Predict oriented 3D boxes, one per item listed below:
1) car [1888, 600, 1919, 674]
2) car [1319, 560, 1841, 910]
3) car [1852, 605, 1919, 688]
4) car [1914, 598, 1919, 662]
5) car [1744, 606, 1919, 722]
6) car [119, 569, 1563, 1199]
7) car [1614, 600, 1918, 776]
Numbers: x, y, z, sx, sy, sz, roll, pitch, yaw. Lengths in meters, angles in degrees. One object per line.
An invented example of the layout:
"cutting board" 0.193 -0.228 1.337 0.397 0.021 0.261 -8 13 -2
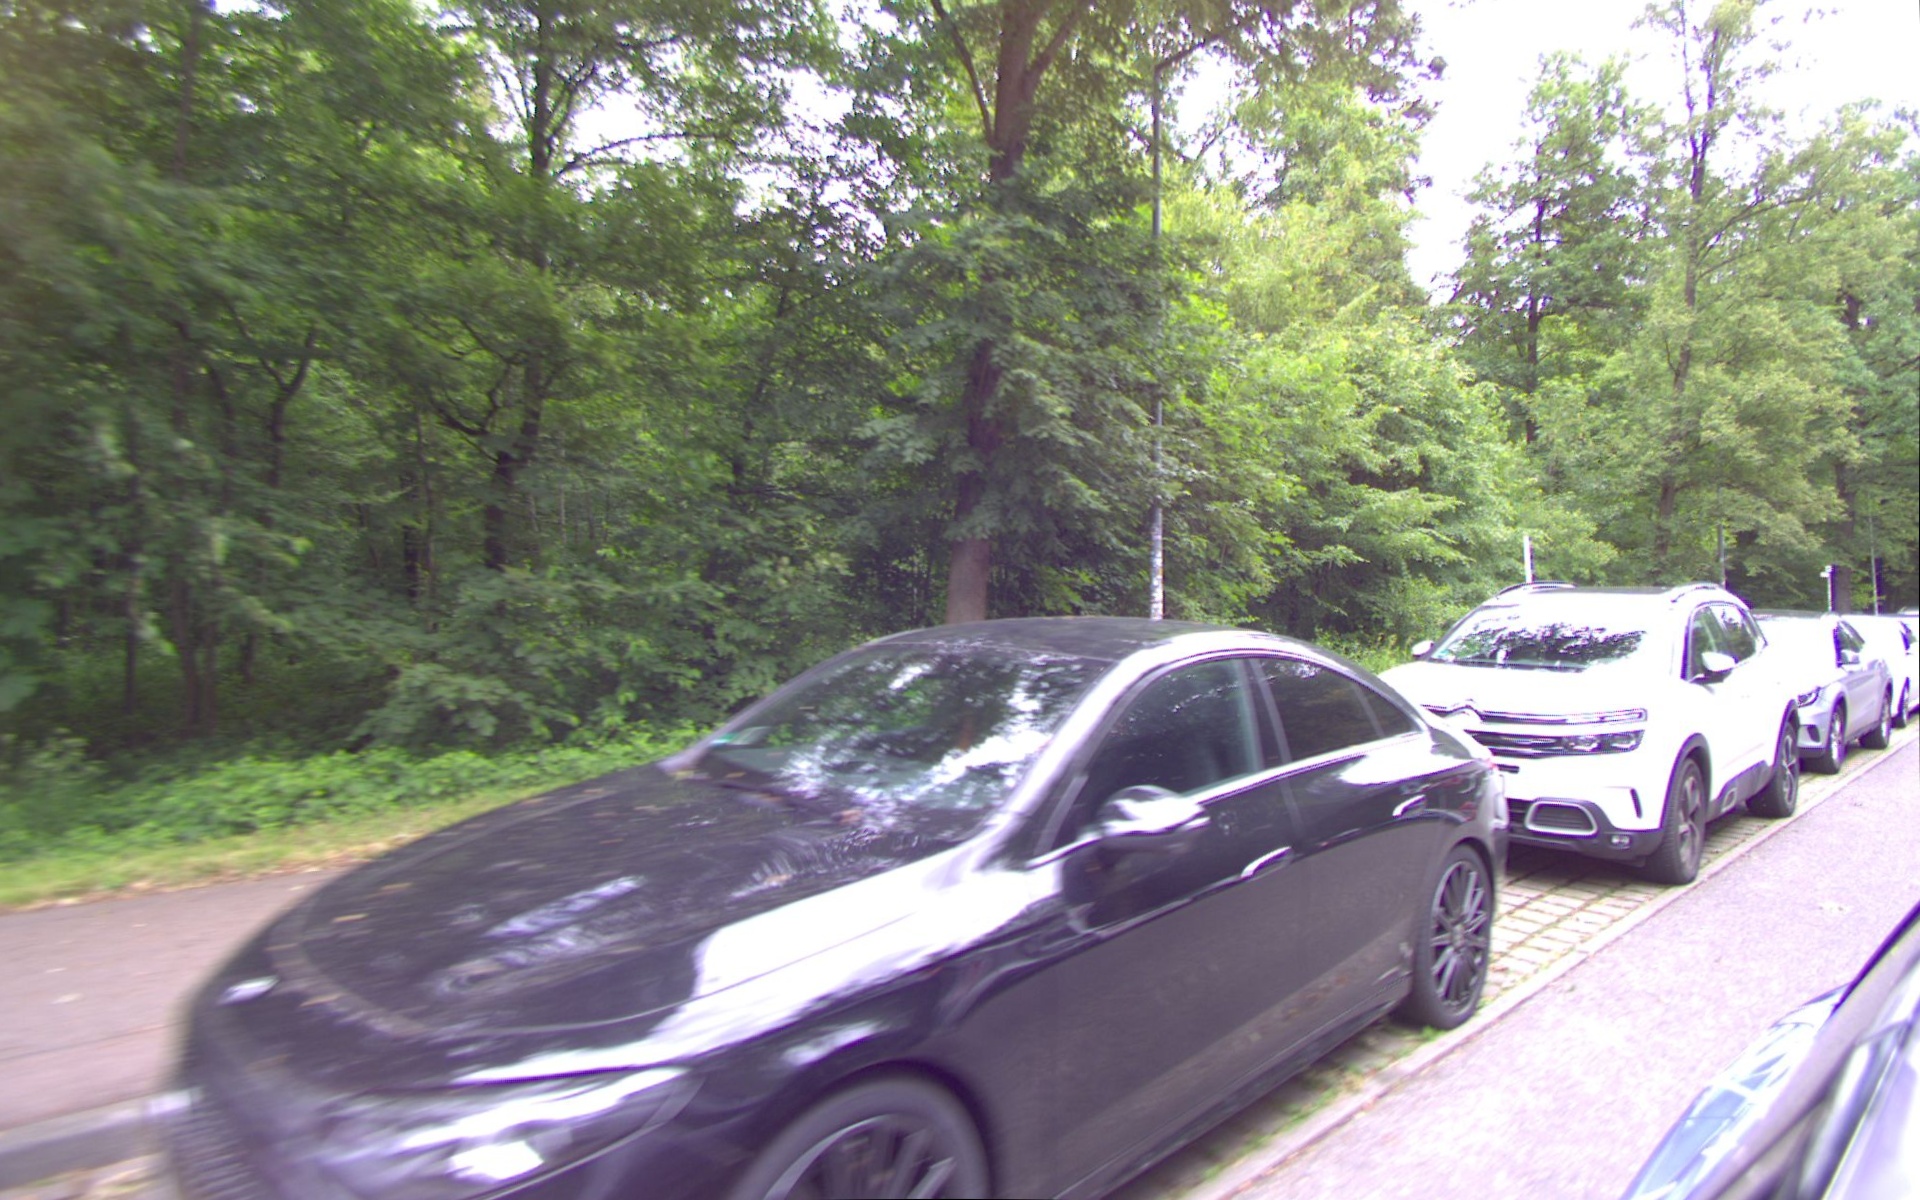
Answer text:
"car" 22.457 0.796 22.836 4.348 1.580 1.841 0 -1 -42
"car" 4.617 0.652 7.129 4.983 1.664 1.739 0 -1 -41
"car" 18.455 0.821 19.240 4.664 1.453 1.738 0 -1 -42
"car" 26.280 0.752 26.253 4.404 1.607 1.904 0 -1 -42
"car" 12.914 0.806 14.603 4.350 1.425 1.739 0 -1 -41
"car" 0.249 0.722 3.298 4.527 1.493 1.738 0 -1 -43
"car" 8.754 0.761 10.823 4.686 1.498 1.739 0 -1 -41
